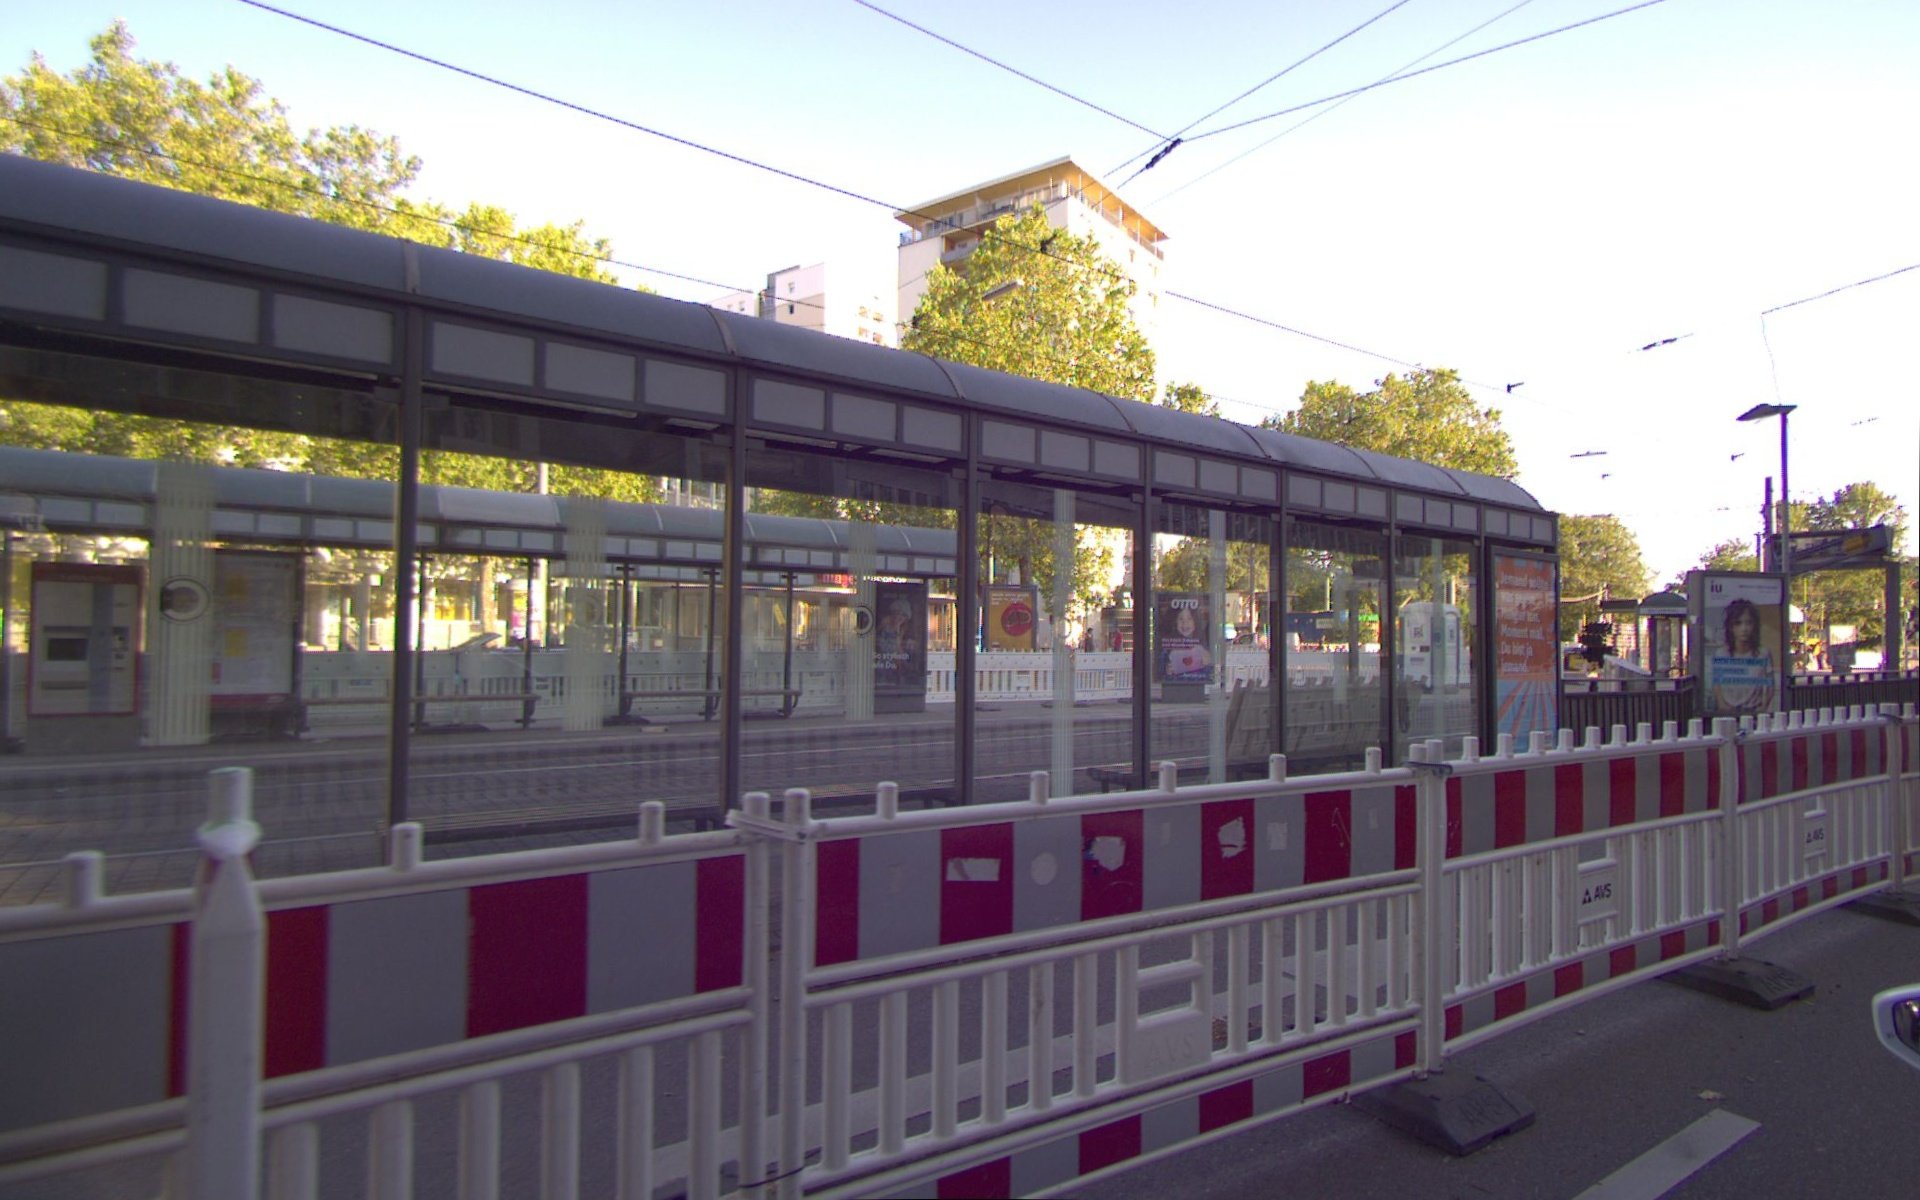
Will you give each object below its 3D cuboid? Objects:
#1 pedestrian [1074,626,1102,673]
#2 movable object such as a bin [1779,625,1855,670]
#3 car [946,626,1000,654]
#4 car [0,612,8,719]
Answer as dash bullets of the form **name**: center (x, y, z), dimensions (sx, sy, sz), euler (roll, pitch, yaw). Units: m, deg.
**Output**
- **pedestrian**: center (5.576, 2.155, 43.919), dimensions (0.873, 2.040, 0.881), euler (1, -2, -28)
- **movable object such as a bin**: center (52.815, 2.907, 61.893), dimensions (4.544, 2.673, 2.141), euler (2, -2, -30)
- **car**: center (1.013, 2.983, 75.150), dimensions (1.964, 2.040, 4.906), euler (0, -2, 29)
- **car**: center (-17.673, 1.054, 15.554), dimensions (3.962, 1.840, 1.980), euler (2, -2, -37)
